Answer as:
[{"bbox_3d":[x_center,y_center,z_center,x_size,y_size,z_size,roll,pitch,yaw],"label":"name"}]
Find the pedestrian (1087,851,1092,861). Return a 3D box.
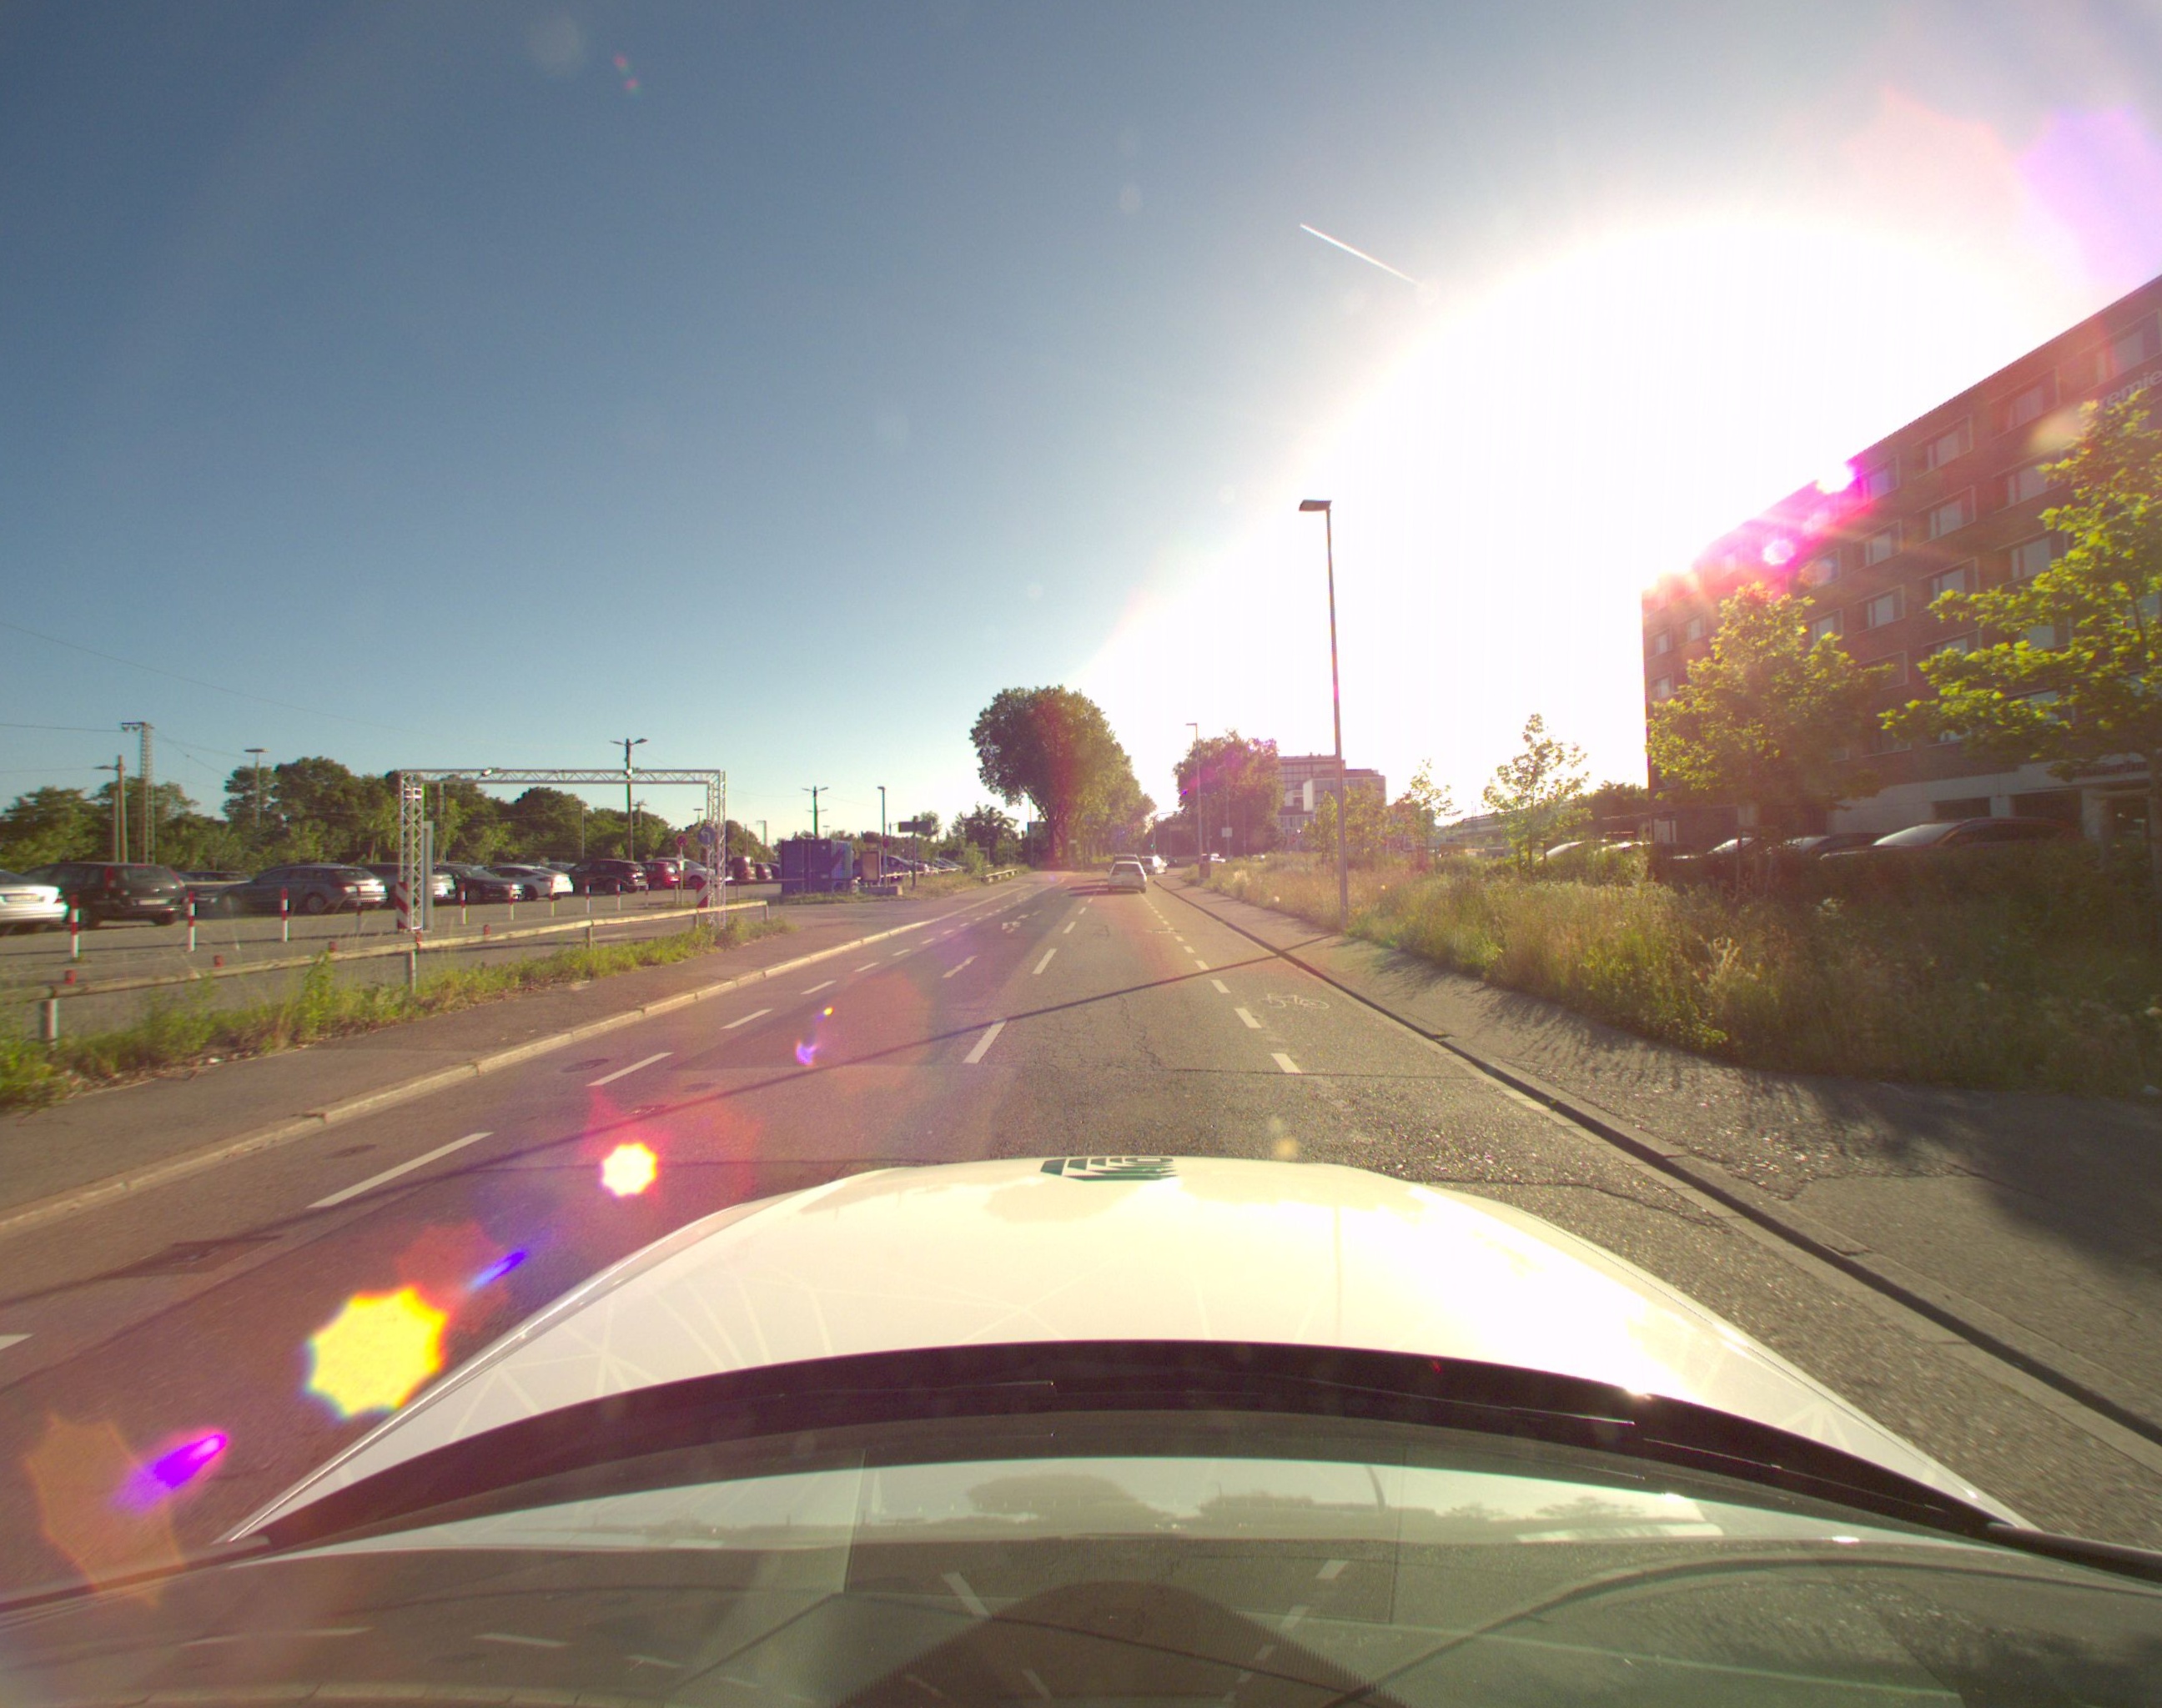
[{"bbox_3d":[1.251,0.294,122.369,0.676,1.415,0.685,-1,0,2],"label":"pedestrian"}]

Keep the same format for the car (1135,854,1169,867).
[{"bbox_3d":[8.505,0.762,97.944,2.008,1.596,3.957,0,0,-35],"label":"car"}]

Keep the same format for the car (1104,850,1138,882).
[{"bbox_3d":[2.271,0.658,46.631,1.812,1.769,4.632,0,0,2],"label":"car"}]

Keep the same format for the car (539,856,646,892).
[{"bbox_3d":[-22.824,0.934,38.160,3.869,1.603,1.879,0,0,1],"label":"car"}]

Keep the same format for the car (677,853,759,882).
[{"bbox_3d":[-22.746,0.837,51.129,4.306,1.791,1.879,0,0,1],"label":"car"}]

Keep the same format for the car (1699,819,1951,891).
[{"bbox_3d":[17.499,0.035,19.341,4.164,1.580,1.854,-1,-1,5],"label":"car"}]

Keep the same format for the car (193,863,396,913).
[{"bbox_3d":[-23.621,1.000,24.569,4.306,1.419,1.879,0,0,1],"label":"car"}]

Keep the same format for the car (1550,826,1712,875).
[{"bbox_3d":[18.503,-0.108,27.566,4.164,1.580,1.854,-1,-1,5],"label":"car"}]

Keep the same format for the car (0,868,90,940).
[{"bbox_3d":[-23.508,1.014,16.649,4.304,1.393,1.879,0,0,2],"label":"car"}]

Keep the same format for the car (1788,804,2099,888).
[{"bbox_3d":[17.318,-0.139,16.548,4.164,1.580,1.854,-1,-1,5],"label":"car"}]

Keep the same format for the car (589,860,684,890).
[{"bbox_3d":[-23.186,1.085,42.572,3.869,1.520,1.879,0,0,1],"label":"car"}]

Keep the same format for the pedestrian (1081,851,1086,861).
[{"bbox_3d":[0.357,0.307,122.622,0.676,1.415,0.685,-1,0,2],"label":"pedestrian"}]

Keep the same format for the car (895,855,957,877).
[{"bbox_3d":[-11.132,0.857,58.828,4.073,1.557,1.879,0,0,1],"label":"car"}]

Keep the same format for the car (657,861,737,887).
[{"bbox_3d":[-22.821,1.182,48.491,3.869,1.520,1.879,0,0,1],"label":"car"}]

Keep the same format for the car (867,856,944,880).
[{"bbox_3d":[-11.480,0.910,53.414,4.578,1.557,2.000,0,0,1],"label":"car"}]

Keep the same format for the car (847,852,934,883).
[{"bbox_3d":[-11.743,0.804,50.437,4.828,1.835,2.000,0,0,1],"label":"car"}]

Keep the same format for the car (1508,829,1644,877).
[{"bbox_3d":[18.582,-0.022,30.717,3.967,1.706,1.854,-1,-1,5],"label":"car"}]

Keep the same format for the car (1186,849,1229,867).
[{"bbox_3d":[12.105,0.390,77.732,2.143,1.684,4.024,-1,0,43],"label":"car"}]

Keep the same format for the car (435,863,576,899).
[{"bbox_3d":[-23.052,1.069,32.736,4.306,1.376,1.879,0,0,1],"label":"car"}]

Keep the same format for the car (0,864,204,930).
[{"bbox_3d":[-23.846,0.983,19.239,4.304,1.463,1.879,0,0,2],"label":"car"}]

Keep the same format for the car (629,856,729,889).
[{"bbox_3d":[-22.394,1.015,45.413,4.557,1.741,2.061,0,0,5],"label":"car"}]

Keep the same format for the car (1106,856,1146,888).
[{"bbox_3d":[2.118,0.816,38.415,1.782,1.420,4.003,0,0,3],"label":"car"}]

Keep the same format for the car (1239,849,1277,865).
[{"bbox_3d":[19.183,0.304,88.351,4.023,1.684,2.144,-1,0,-44],"label":"car"}]

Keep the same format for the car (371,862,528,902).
[{"bbox_3d":[-23.077,0.992,29.879,4.306,1.376,1.879,0,0,1],"label":"car"}]

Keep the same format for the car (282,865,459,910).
[{"bbox_3d":[-23.856,1.101,27.452,4.306,1.419,1.879,0,0,1],"label":"car"}]

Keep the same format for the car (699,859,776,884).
[{"bbox_3d":[-22.665,1.150,53.859,4.306,1.618,1.879,0,0,1],"label":"car"}]

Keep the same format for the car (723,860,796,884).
[{"bbox_3d":[-22.221,1.217,56.376,4.306,1.618,1.879,0,0,1],"label":"car"}]

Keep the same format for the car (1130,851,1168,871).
[{"bbox_3d":[5.671,0.584,67.340,1.881,1.596,4.022,-1,-1,24],"label":"car"}]

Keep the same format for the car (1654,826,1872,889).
[{"bbox_3d":[18.086,0.098,21.770,4.164,1.580,1.854,-1,-1,5],"label":"car"}]

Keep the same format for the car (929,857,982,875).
[{"bbox_3d":[-11.214,1.106,72.939,4.409,1.557,1.879,0,0,1],"label":"car"}]

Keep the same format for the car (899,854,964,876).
[{"bbox_3d":[-11.276,0.821,61.641,4.526,1.557,1.879,0,0,1],"label":"car"}]
